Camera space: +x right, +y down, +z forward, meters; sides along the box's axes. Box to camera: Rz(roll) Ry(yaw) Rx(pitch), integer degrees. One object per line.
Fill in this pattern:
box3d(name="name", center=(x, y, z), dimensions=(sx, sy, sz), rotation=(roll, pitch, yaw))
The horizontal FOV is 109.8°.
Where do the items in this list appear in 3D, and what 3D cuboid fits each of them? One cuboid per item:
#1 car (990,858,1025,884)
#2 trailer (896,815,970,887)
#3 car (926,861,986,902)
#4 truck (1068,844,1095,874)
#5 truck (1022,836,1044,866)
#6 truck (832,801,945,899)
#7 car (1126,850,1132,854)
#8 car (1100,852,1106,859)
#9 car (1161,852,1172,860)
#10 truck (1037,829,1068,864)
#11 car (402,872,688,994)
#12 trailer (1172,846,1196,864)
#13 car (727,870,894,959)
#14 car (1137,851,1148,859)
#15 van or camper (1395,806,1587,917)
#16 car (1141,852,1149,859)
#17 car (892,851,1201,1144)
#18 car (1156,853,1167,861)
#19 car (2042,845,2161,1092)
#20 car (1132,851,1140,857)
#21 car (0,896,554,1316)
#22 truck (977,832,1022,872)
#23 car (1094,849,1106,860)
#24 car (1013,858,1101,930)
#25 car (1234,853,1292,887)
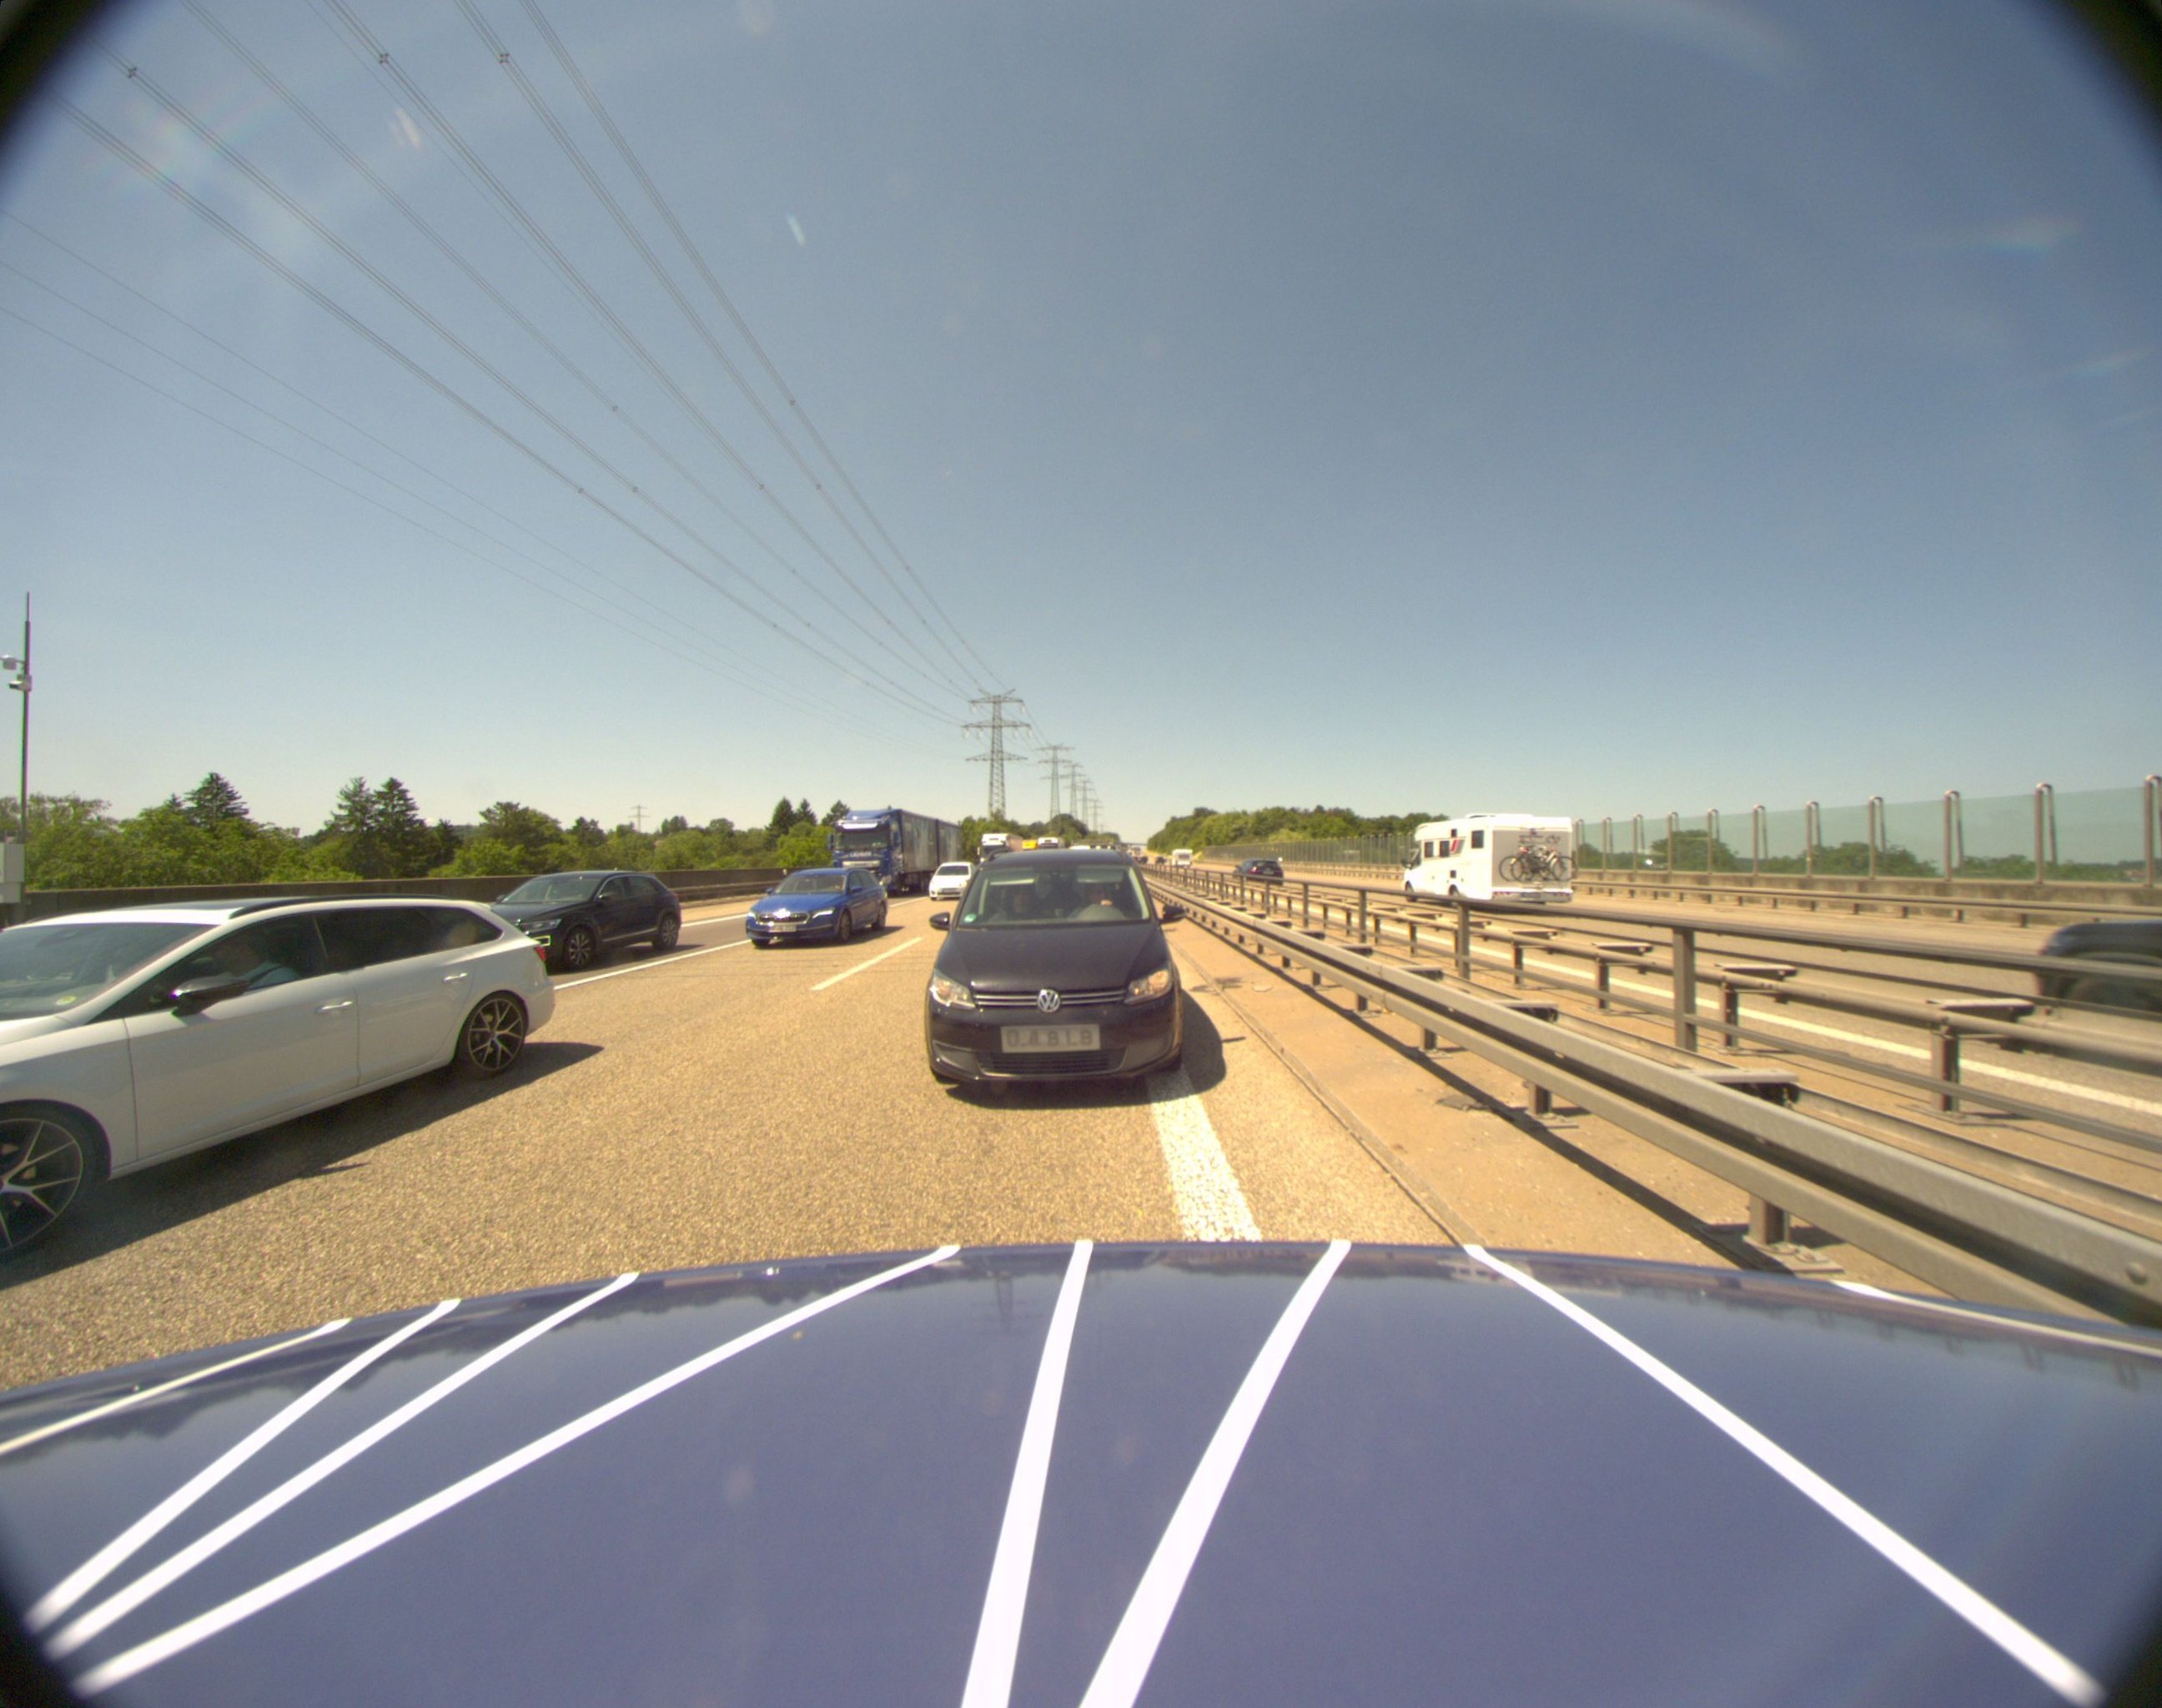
box3d(name="car", center=(-4.528, 1.006, 47.351), dimensions=(1.763, 1.495, 4.094), rotation=(-1, 0, 0))
box3d(name="trailer", center=(-8.904, -0.209, 46.671), dimensions=(2.572, 3.922, 8.479), rotation=(-2, 0, 1))
box3d(name="car", center=(-5.032, 1.059, 31.108), dimensions=(1.763, 1.495, 4.094), rotation=(-1, 0, 0))
box3d(name="truck", center=(0.095, 0.402, 68.321), dimensions=(2.284, 2.479, 5.861), rotation=(-2, 0, 1))
box3d(name="truck", center=(-6.932, -0.458, 110.957), dimensions=(2.346, 4.058, 8.279), rotation=(-2, 0, 1))
box3d(name="truck", center=(-9.031, -0.187, 37.180), dimensions=(2.529, 4.043, 10.447), rotation=(-2, 0, 1))
box3d(name="car", center=(15.094, -0.542, 236.998), dimensions=(1.601, 1.310, 4.341), rotation=(1, 0, 0))
box3d(name="car", center=(6.215, 0.394, 216.987), dimensions=(1.805, 2.002, 4.000), rotation=(-1, 0, 1))
box3d(name="car", center=(21.449, 0.452, 190.334), dimensions=(1.998, 1.874, 5.256), rotation=(1, 0, 0))
box3d(name="truck", center=(-3.392, -0.901, 93.125), dimensions=(2.980, 3.832, 10.562), rotation=(-2, 0, 1))
box3d(name="car", center=(-8.536, 1.153, 12.652), dimensions=(1.740, 1.518, 4.106), rotation=(-2, 0, 1))
box3d(name="trailer", center=(14.452, 0.132, 107.338), dimensions=(2.499, 2.534, 6.774), rotation=(1, 0, 1))
box3d(name="car", center=(-5.316, 1.123, 15.573), dimensions=(1.739, 1.437, 4.211), rotation=(-1, 0, 2))
box3d(name="car", center=(11.383, 0.218, 140.900), dimensions=(1.672, 1.439, 4.001), rotation=(2, 0, 2))
box3d(name="van or camper", center=(12.705, 0.201, 24.396), dimensions=(2.428, 3.006, 7.026), rotation=(1, 0, 1))
box3d(name="car", center=(17.293, 0.452, 204.923), dimensions=(1.998, 2.002, 4.000), rotation=(-1, 0, 1))
box3d(name="car", center=(-0.186, 0.831, 6.435), dimensions=(1.740, 1.652, 4.000), rotation=(-2, 0, 0))
box3d(name="car", center=(15.901, 0.547, 149.583), dimensions=(1.734, 1.483, 4.419), rotation=(1, 0, 0))
box3d(name="car", center=(8.341, 0.796, 3.637), dimensions=(1.872, 1.690, 4.430), rotation=(1, 0, 0))
box3d(name="car", center=(12.346, 0.016, 170.358), dimensions=(1.672, 1.439, 4.001), rotation=(2, 0, 2))
box3d(name="car", center=(-5.251, 1.123, 4.186), dimensions=(1.843, 1.481, 4.072), rotation=(-2, 0, -1))
box3d(name="truck", center=(-7.973, -0.217, 75.659), dimensions=(2.985, 3.538, 10.967), rotation=(-2, 0, 1))
box3d(name="car", center=(3.461, 0.101, 140.373), dimensions=(1.998, 2.002, 4.000), rotation=(-2, 0, 1))
box3d(name="car", center=(-0.482, 0.867, 18.426), dimensions=(1.845, 1.495, 4.377), rotation=(-1, 0, 1))
box3d(name="car", center=(9.108, 0.774, 38.400), dimensions=(1.872, 1.523, 4.424), rotation=(2, 0, 1))
